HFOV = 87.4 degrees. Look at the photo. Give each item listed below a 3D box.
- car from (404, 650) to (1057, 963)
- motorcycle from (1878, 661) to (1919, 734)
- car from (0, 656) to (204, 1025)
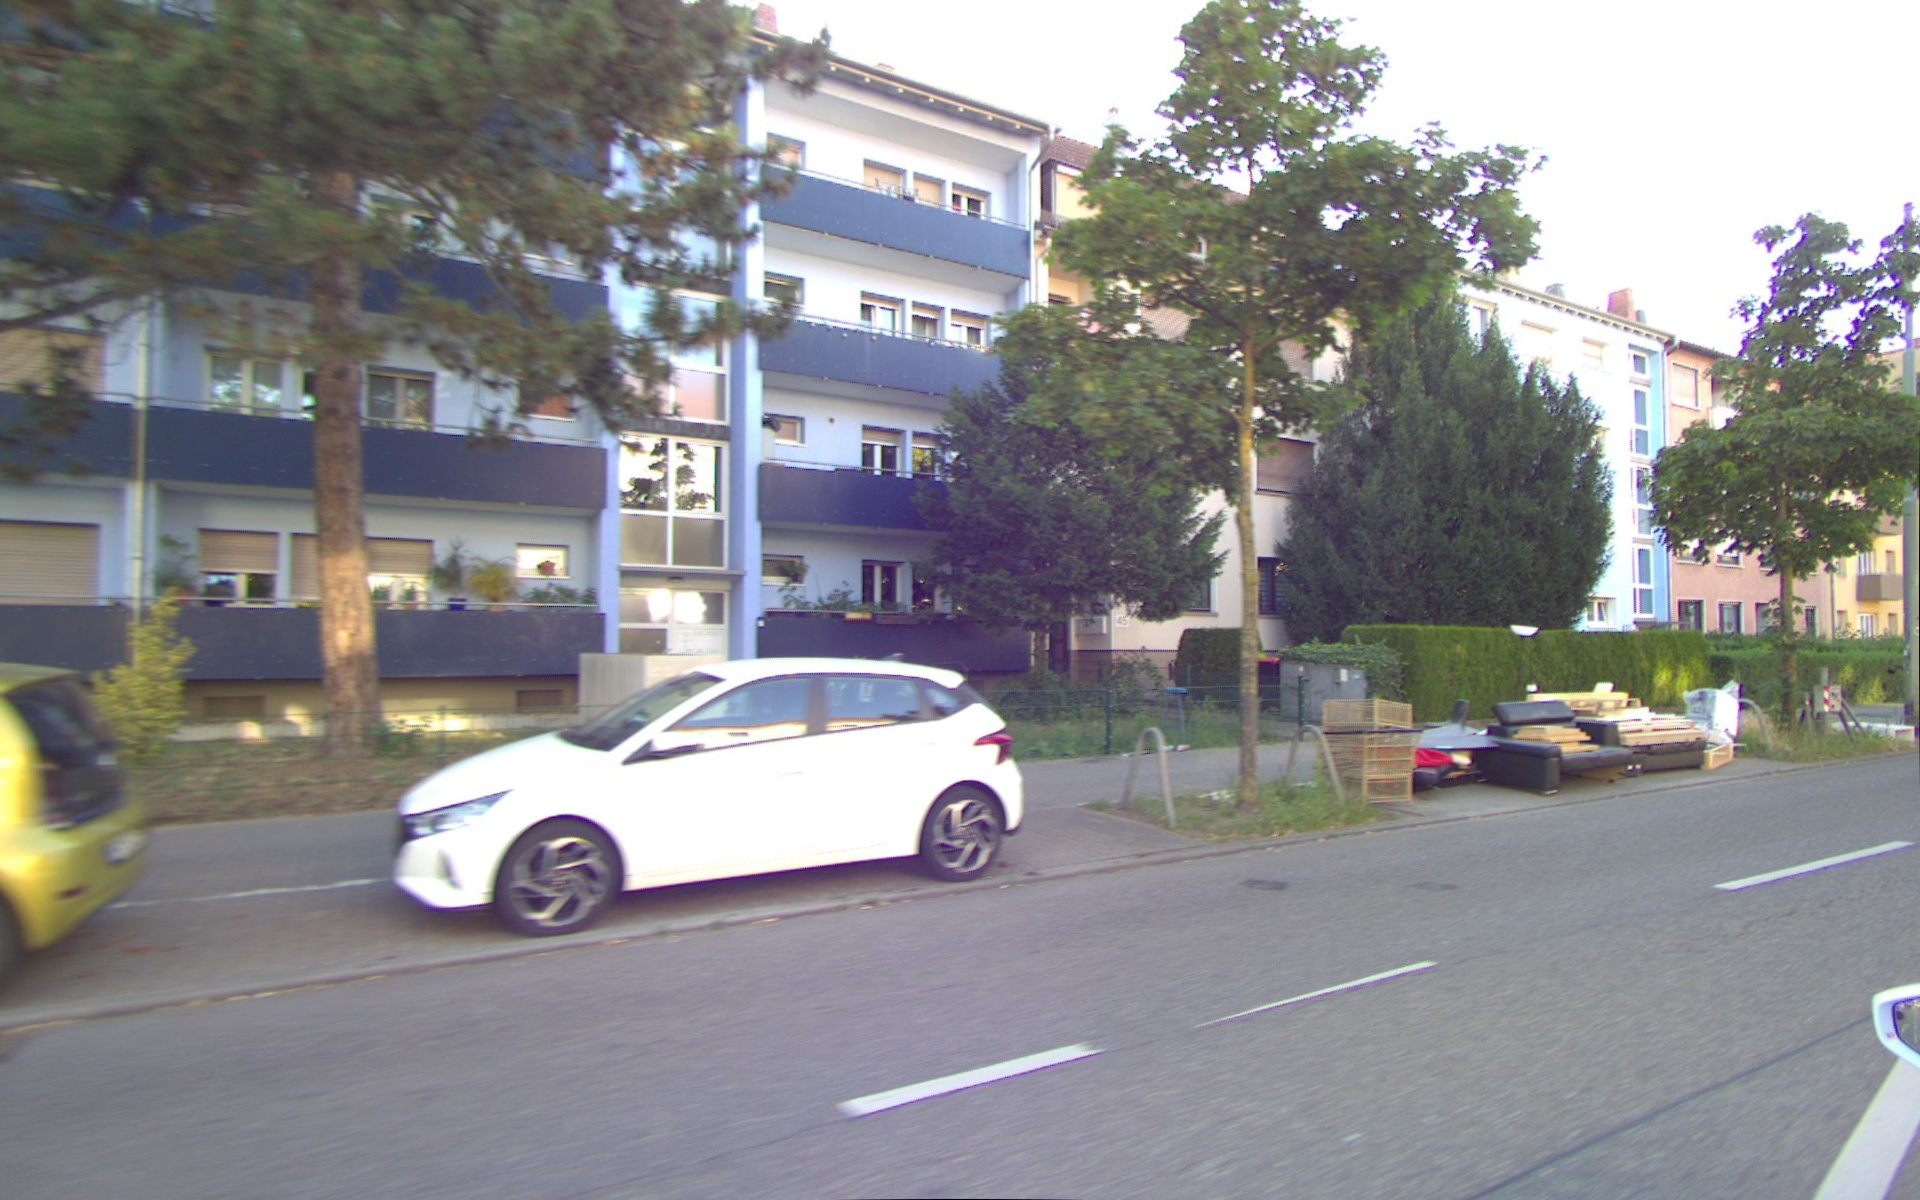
[{"bbox_3d":[-1.471,1.129,6.791,3.921,1.514,1.774,1,-1,-28],"label":"car"},{"bbox_3d":[17.244,1.702,17.816,2.114,1.220,0.737,1,-1,-27],"label":"motorcycle"},{"bbox_3d":[-5.746,1.022,4.244,3.823,1.500,1.612,1,-1,-28],"label":"car"}]
